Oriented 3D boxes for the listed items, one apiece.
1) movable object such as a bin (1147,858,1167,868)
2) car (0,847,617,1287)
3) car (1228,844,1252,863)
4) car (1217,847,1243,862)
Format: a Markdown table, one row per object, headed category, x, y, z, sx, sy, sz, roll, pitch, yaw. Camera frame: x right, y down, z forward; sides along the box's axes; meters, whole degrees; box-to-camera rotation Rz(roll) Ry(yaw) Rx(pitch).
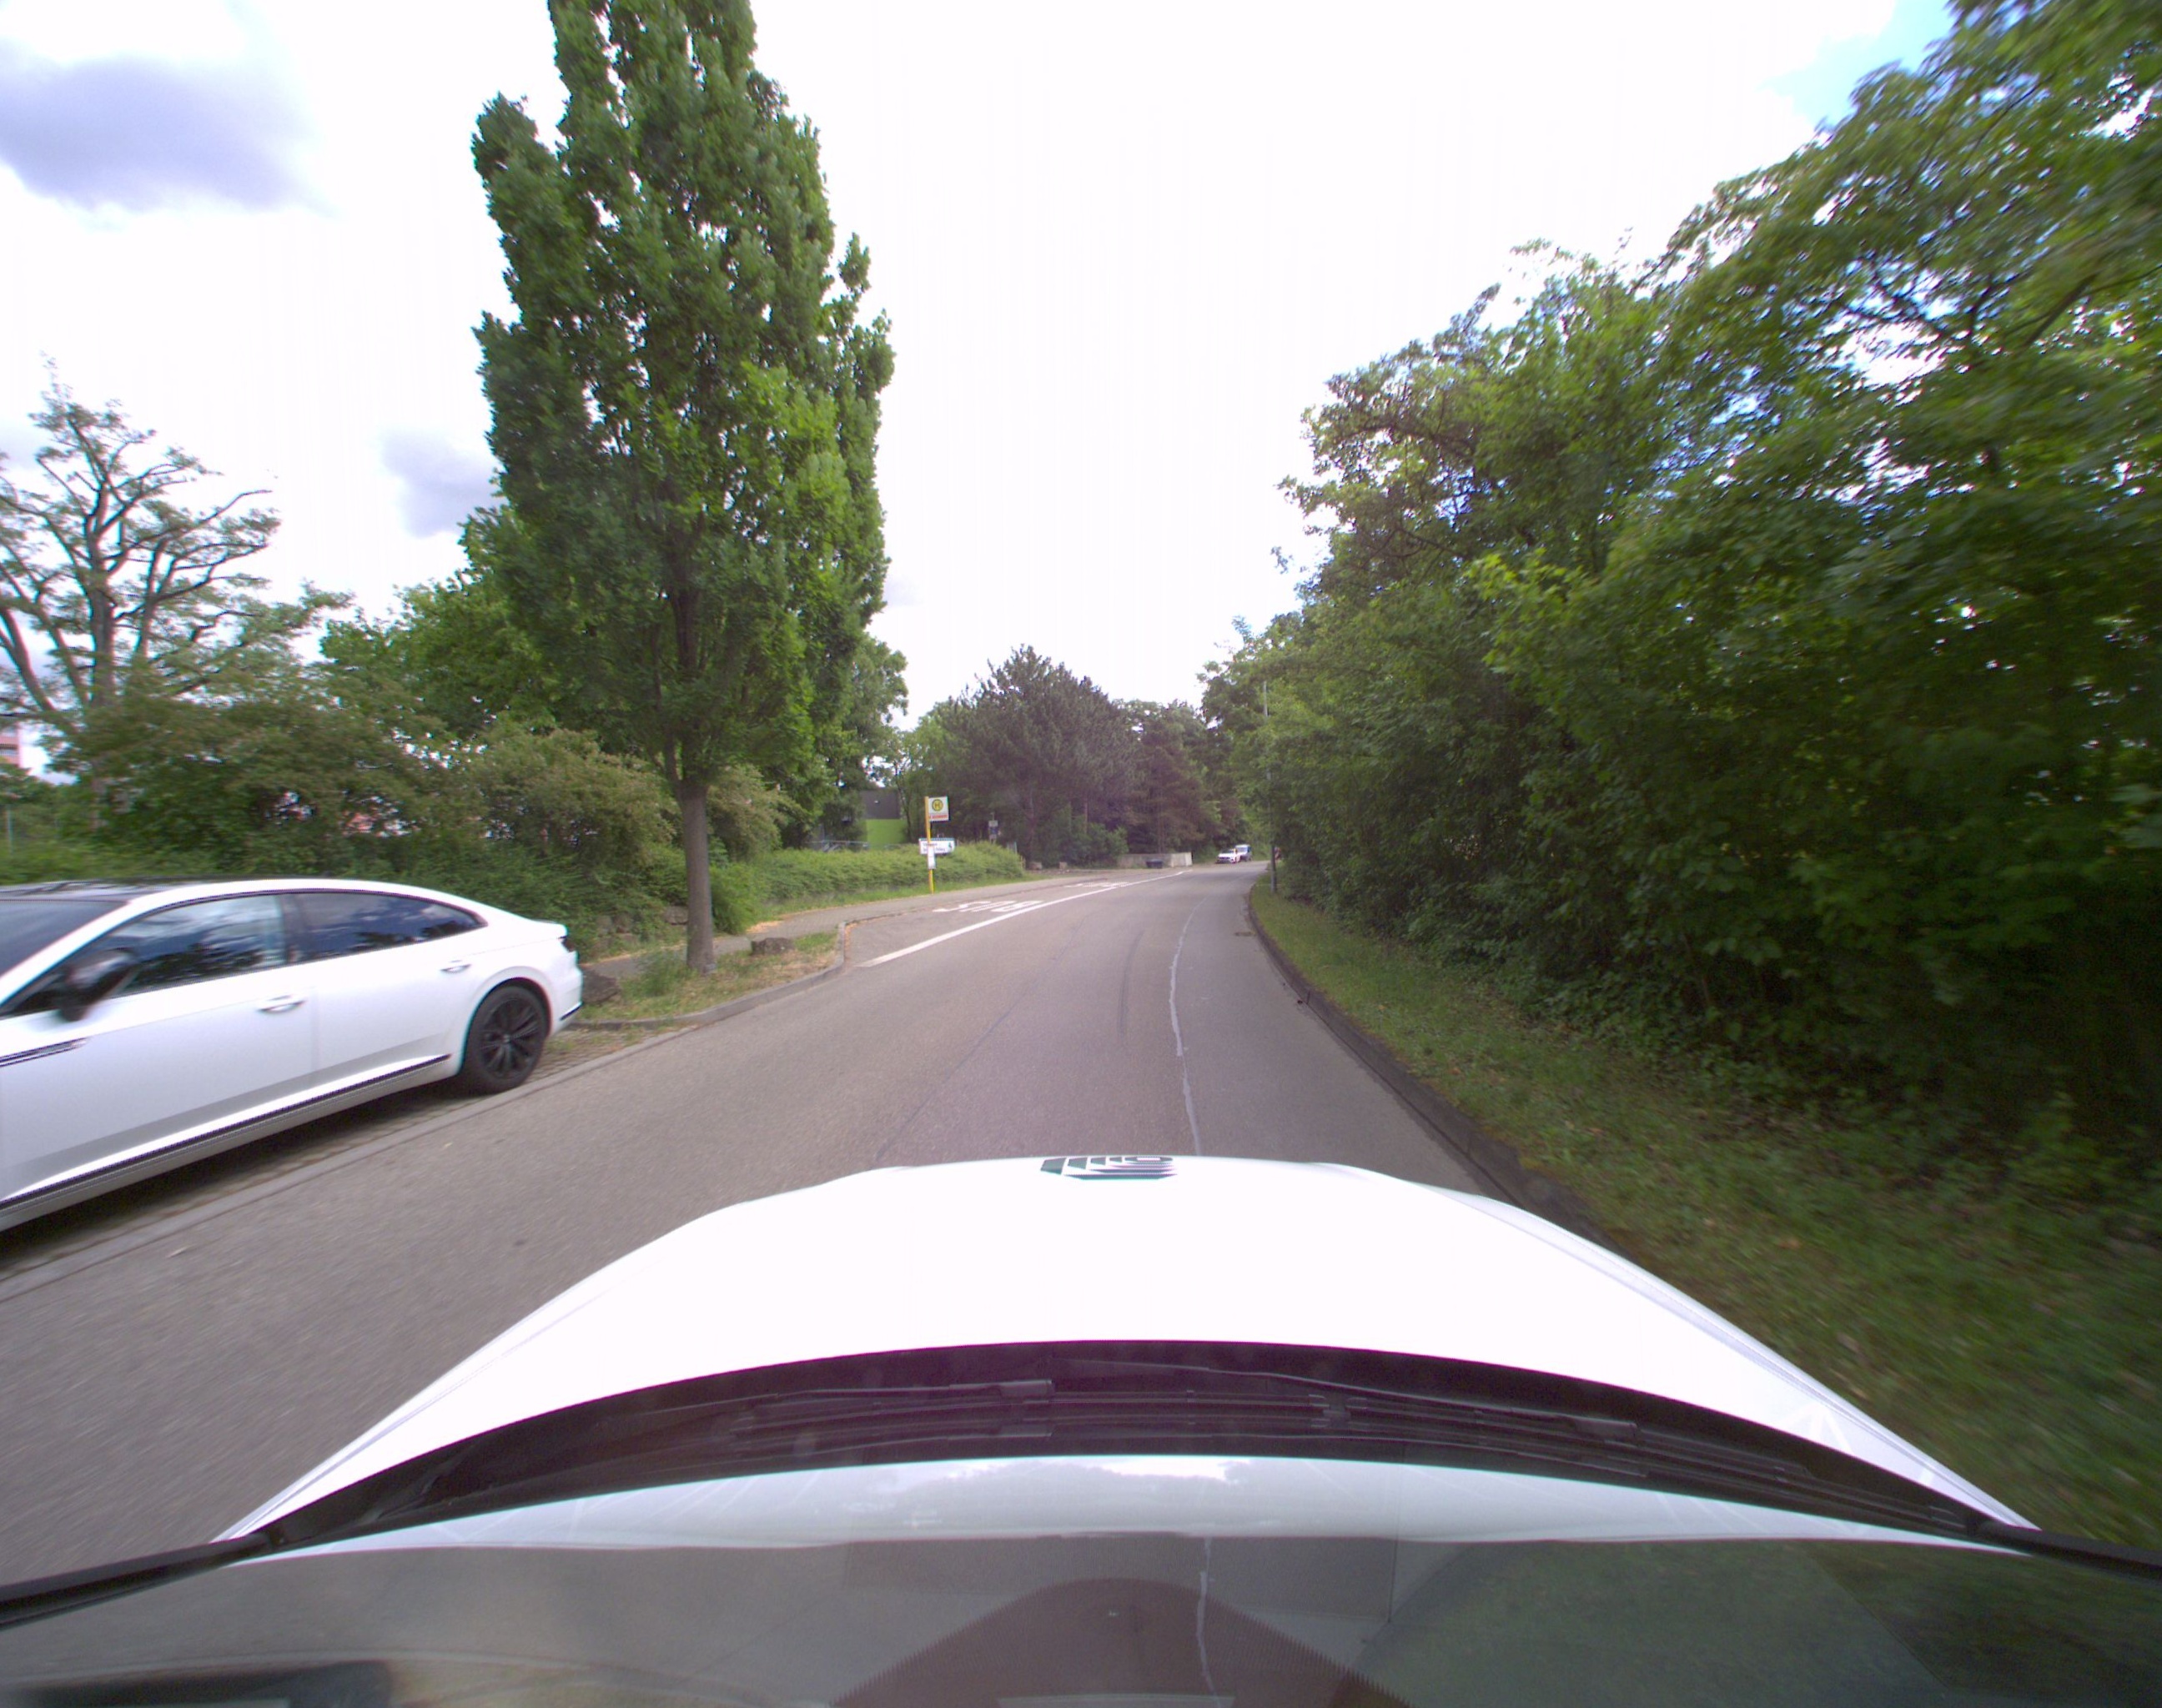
| category | x | y | z | sx | sy | sz | roll | pitch | yaw |
| --- | --- | --- | --- | --- | --- | --- | --- | --- | --- |
| movable object such as a bin | 5.466 | 0.647 | 58.557 | 1.146 | 0.760 | 1.043 | 0 | -1 | -17 |
| car | -4.551 | 0.747 | 3.861 | 1.840 | 1.492 | 4.639 | -2 | 0 | 3 |
| car | 17.077 | -0.037 | 87.289 | 1.705 | 1.921 | 4.127 | -1 | 1 | 23 |
| car | 14.833 | 0.060 | 81.021 | 1.790 | 1.403 | 4.394 | -1 | 0 | 20 |
